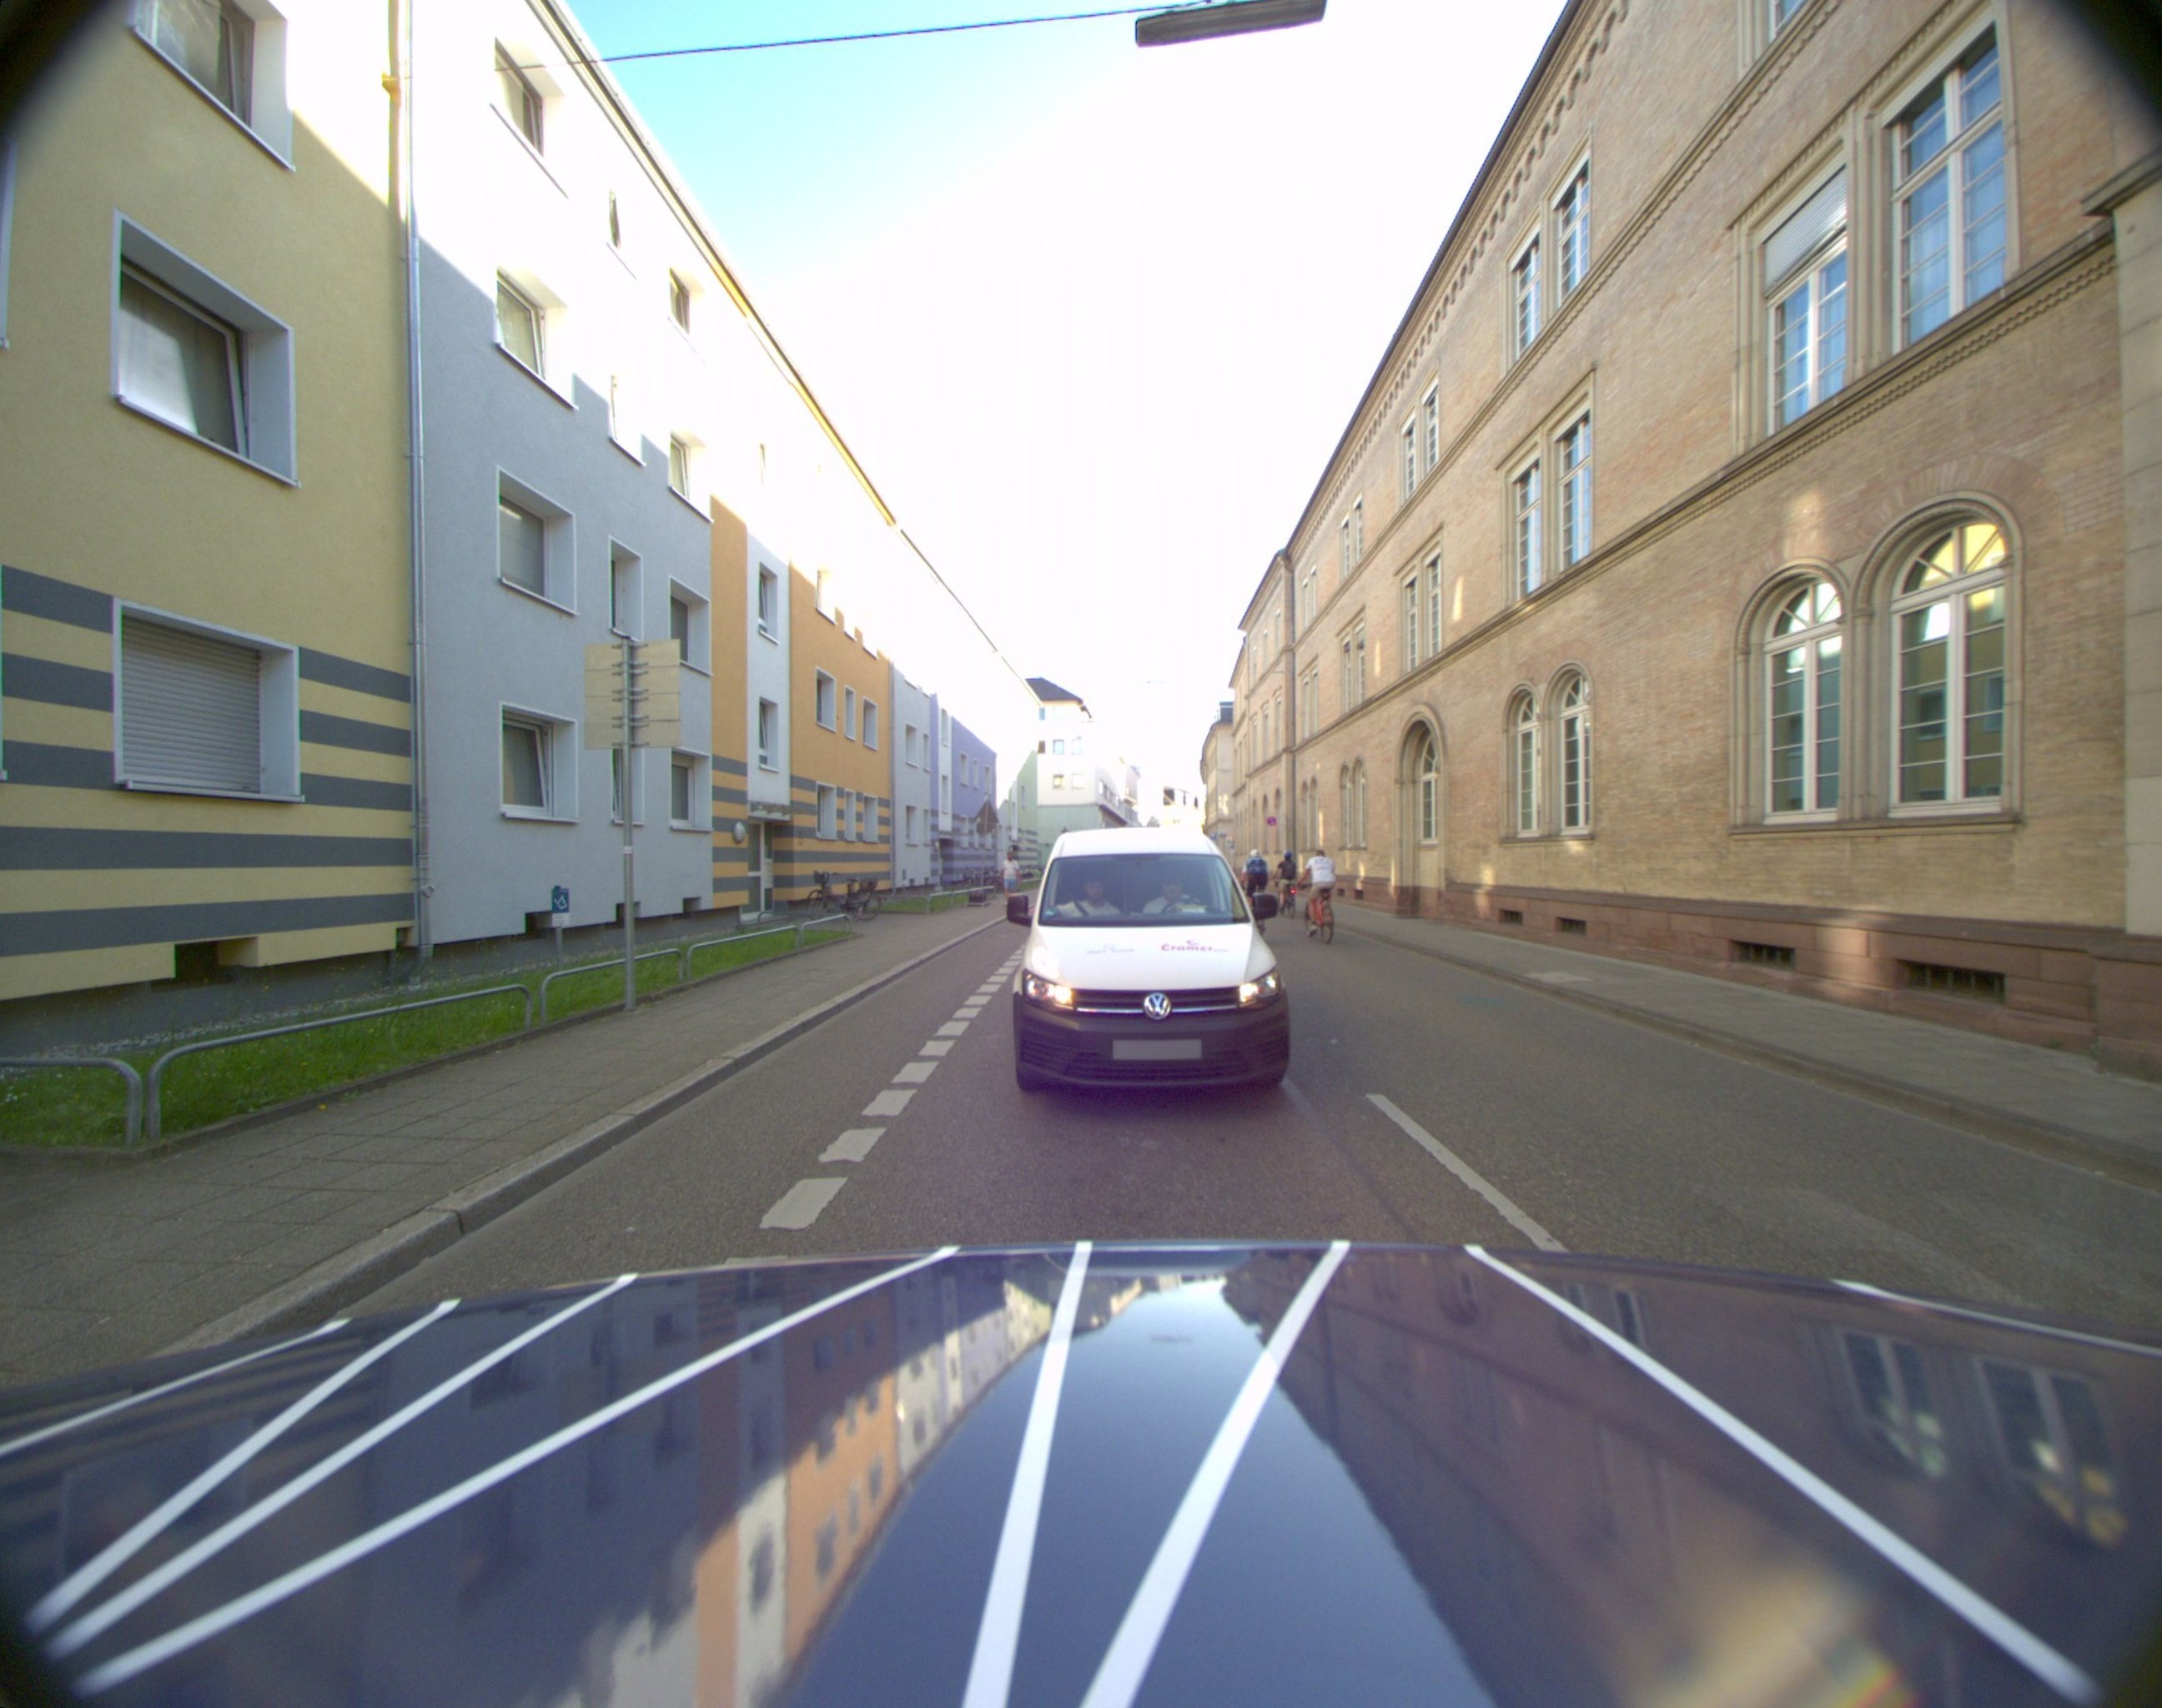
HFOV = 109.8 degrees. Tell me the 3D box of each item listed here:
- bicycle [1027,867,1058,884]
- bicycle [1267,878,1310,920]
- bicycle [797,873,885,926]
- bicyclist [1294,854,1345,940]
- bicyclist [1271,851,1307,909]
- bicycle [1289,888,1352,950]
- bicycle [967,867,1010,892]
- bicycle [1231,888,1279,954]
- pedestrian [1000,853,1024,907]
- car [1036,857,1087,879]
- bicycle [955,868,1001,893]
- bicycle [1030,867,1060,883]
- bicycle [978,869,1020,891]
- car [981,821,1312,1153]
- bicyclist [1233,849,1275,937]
[{"bbox_3d":[-2.312,1.293,46.088,1.775,0.934,0.584,1,1,7],"label":"bicycle"},{"bbox_3d":[5.564,1.188,20.439,0.651,1.001,1.876,2,0,2],"label":"bicycle"},{"bbox_3d":[-5.391,1.019,17.118,1.776,1.118,0.583,1,1,-1],"label":"bicycle"},{"bbox_3d":[4.508,0.784,14.418,0.651,1.558,0.961,2,0,2],"label":"bicyclist"},{"bbox_3d":[5.576,0.684,20.414,0.651,1.500,1.111,2,0,2],"label":"bicyclist"},{"bbox_3d":[4.503,1.197,14.408,0.651,1.001,1.807,2,0,2],"label":"bicycle"},{"bbox_3d":[-4.046,1.110,33.218,1.775,0.990,0.584,1,1,7],"label":"bicycle"},{"bbox_3d":[3.094,1.166,13.638,0.546,1.001,1.757,2,0,4],"label":"bicycle"},{"bbox_3d":[-2.171,0.809,24.045,0.644,1.662,0.834,1,0,3],"label":"pedestrian"},{"bbox_3d":[-1.591,1.156,63.492,3.995,1.681,1.901,-2,1,5],"label":"car"},{"bbox_3d":[-4.322,1.120,31.875,1.775,0.990,0.584,1,1,7],"label":"bicycle"},{"bbox_3d":[-2.232,1.324,47.626,1.775,0.934,0.584,1,1,7],"label":"bicycle"},{"bbox_3d":[-3.656,1.148,33.833,1.775,0.934,0.584,1,1,7],"label":"bicycle"},{"bbox_3d":[0.398,0.744,6.873,1.819,1.825,5.341,0,0,1],"label":"car"},{"bbox_3d":[3.108,0.679,13.683,0.546,1.524,0.869,2,0,4],"label":"bicyclist"}]
